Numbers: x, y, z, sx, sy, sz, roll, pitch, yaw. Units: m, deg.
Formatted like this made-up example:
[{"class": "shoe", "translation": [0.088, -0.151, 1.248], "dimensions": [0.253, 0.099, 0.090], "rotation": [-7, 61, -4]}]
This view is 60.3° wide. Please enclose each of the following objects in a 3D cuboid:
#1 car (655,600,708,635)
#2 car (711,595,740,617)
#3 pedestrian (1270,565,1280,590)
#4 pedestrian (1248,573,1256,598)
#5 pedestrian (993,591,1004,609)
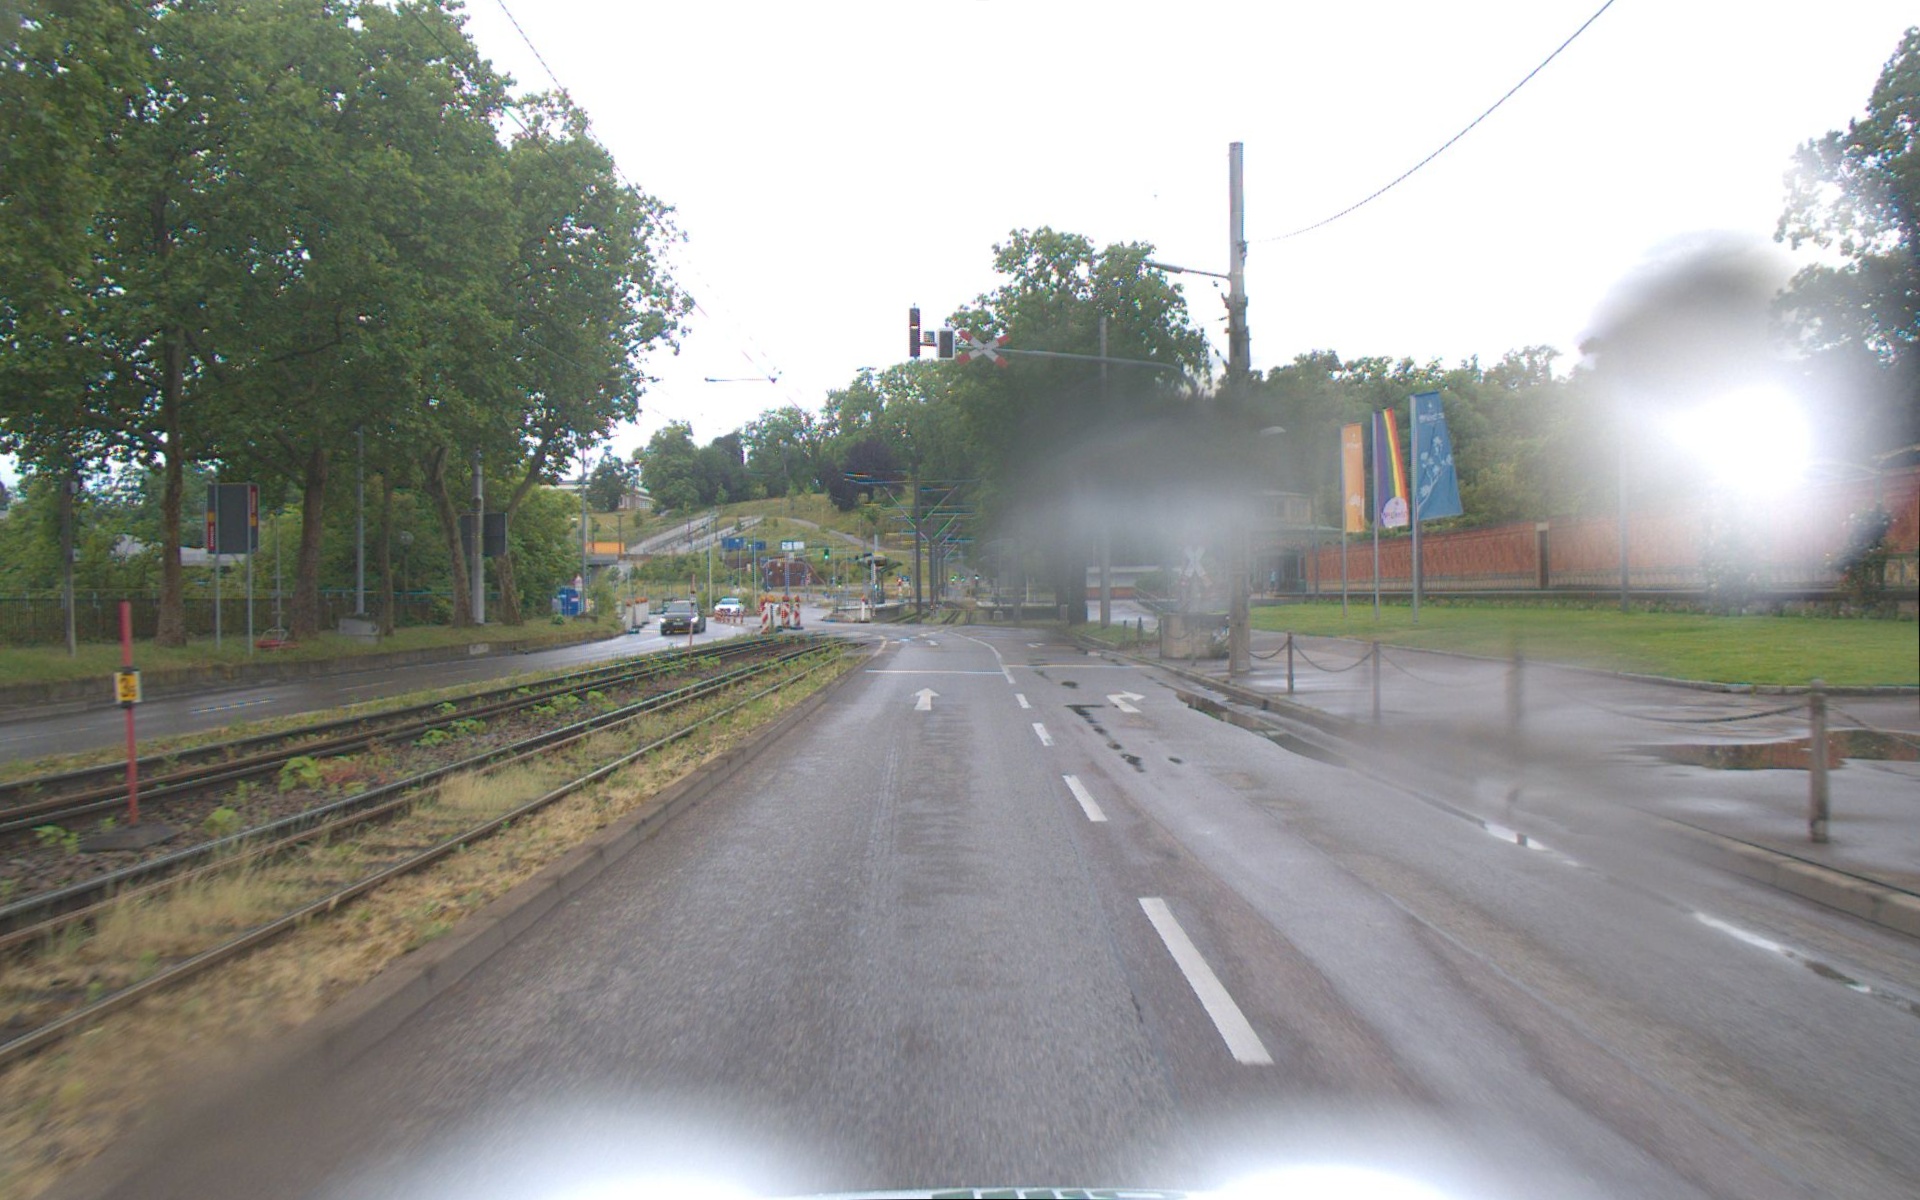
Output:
[{"class": "car", "translation": [-12.907, 0.789, 76.809], "dimensions": [1.711, 1.455, 4.559], "rotation": [-2, 0, -1]}, {"class": "car", "translation": [-17.711, 0.431, 125.057], "dimensions": [1.674, 1.525, 4.718], "rotation": [-1, 0, -2]}, {"class": "pedestrian", "translation": [21.960, -1.557, 115.429], "dimensions": [0.540, 1.686, 0.468], "rotation": [-1, -1, 35]}, {"class": "pedestrian", "translation": [20.509, -1.022, 116.041], "dimensions": [0.520, 1.741, 0.696], "rotation": [1, -2, 11]}, {"class": "pedestrian", "translation": [2.517, 0.018, 108.037], "dimensions": [0.590, 1.138, 0.518], "rotation": [3, -1, -16]}]
